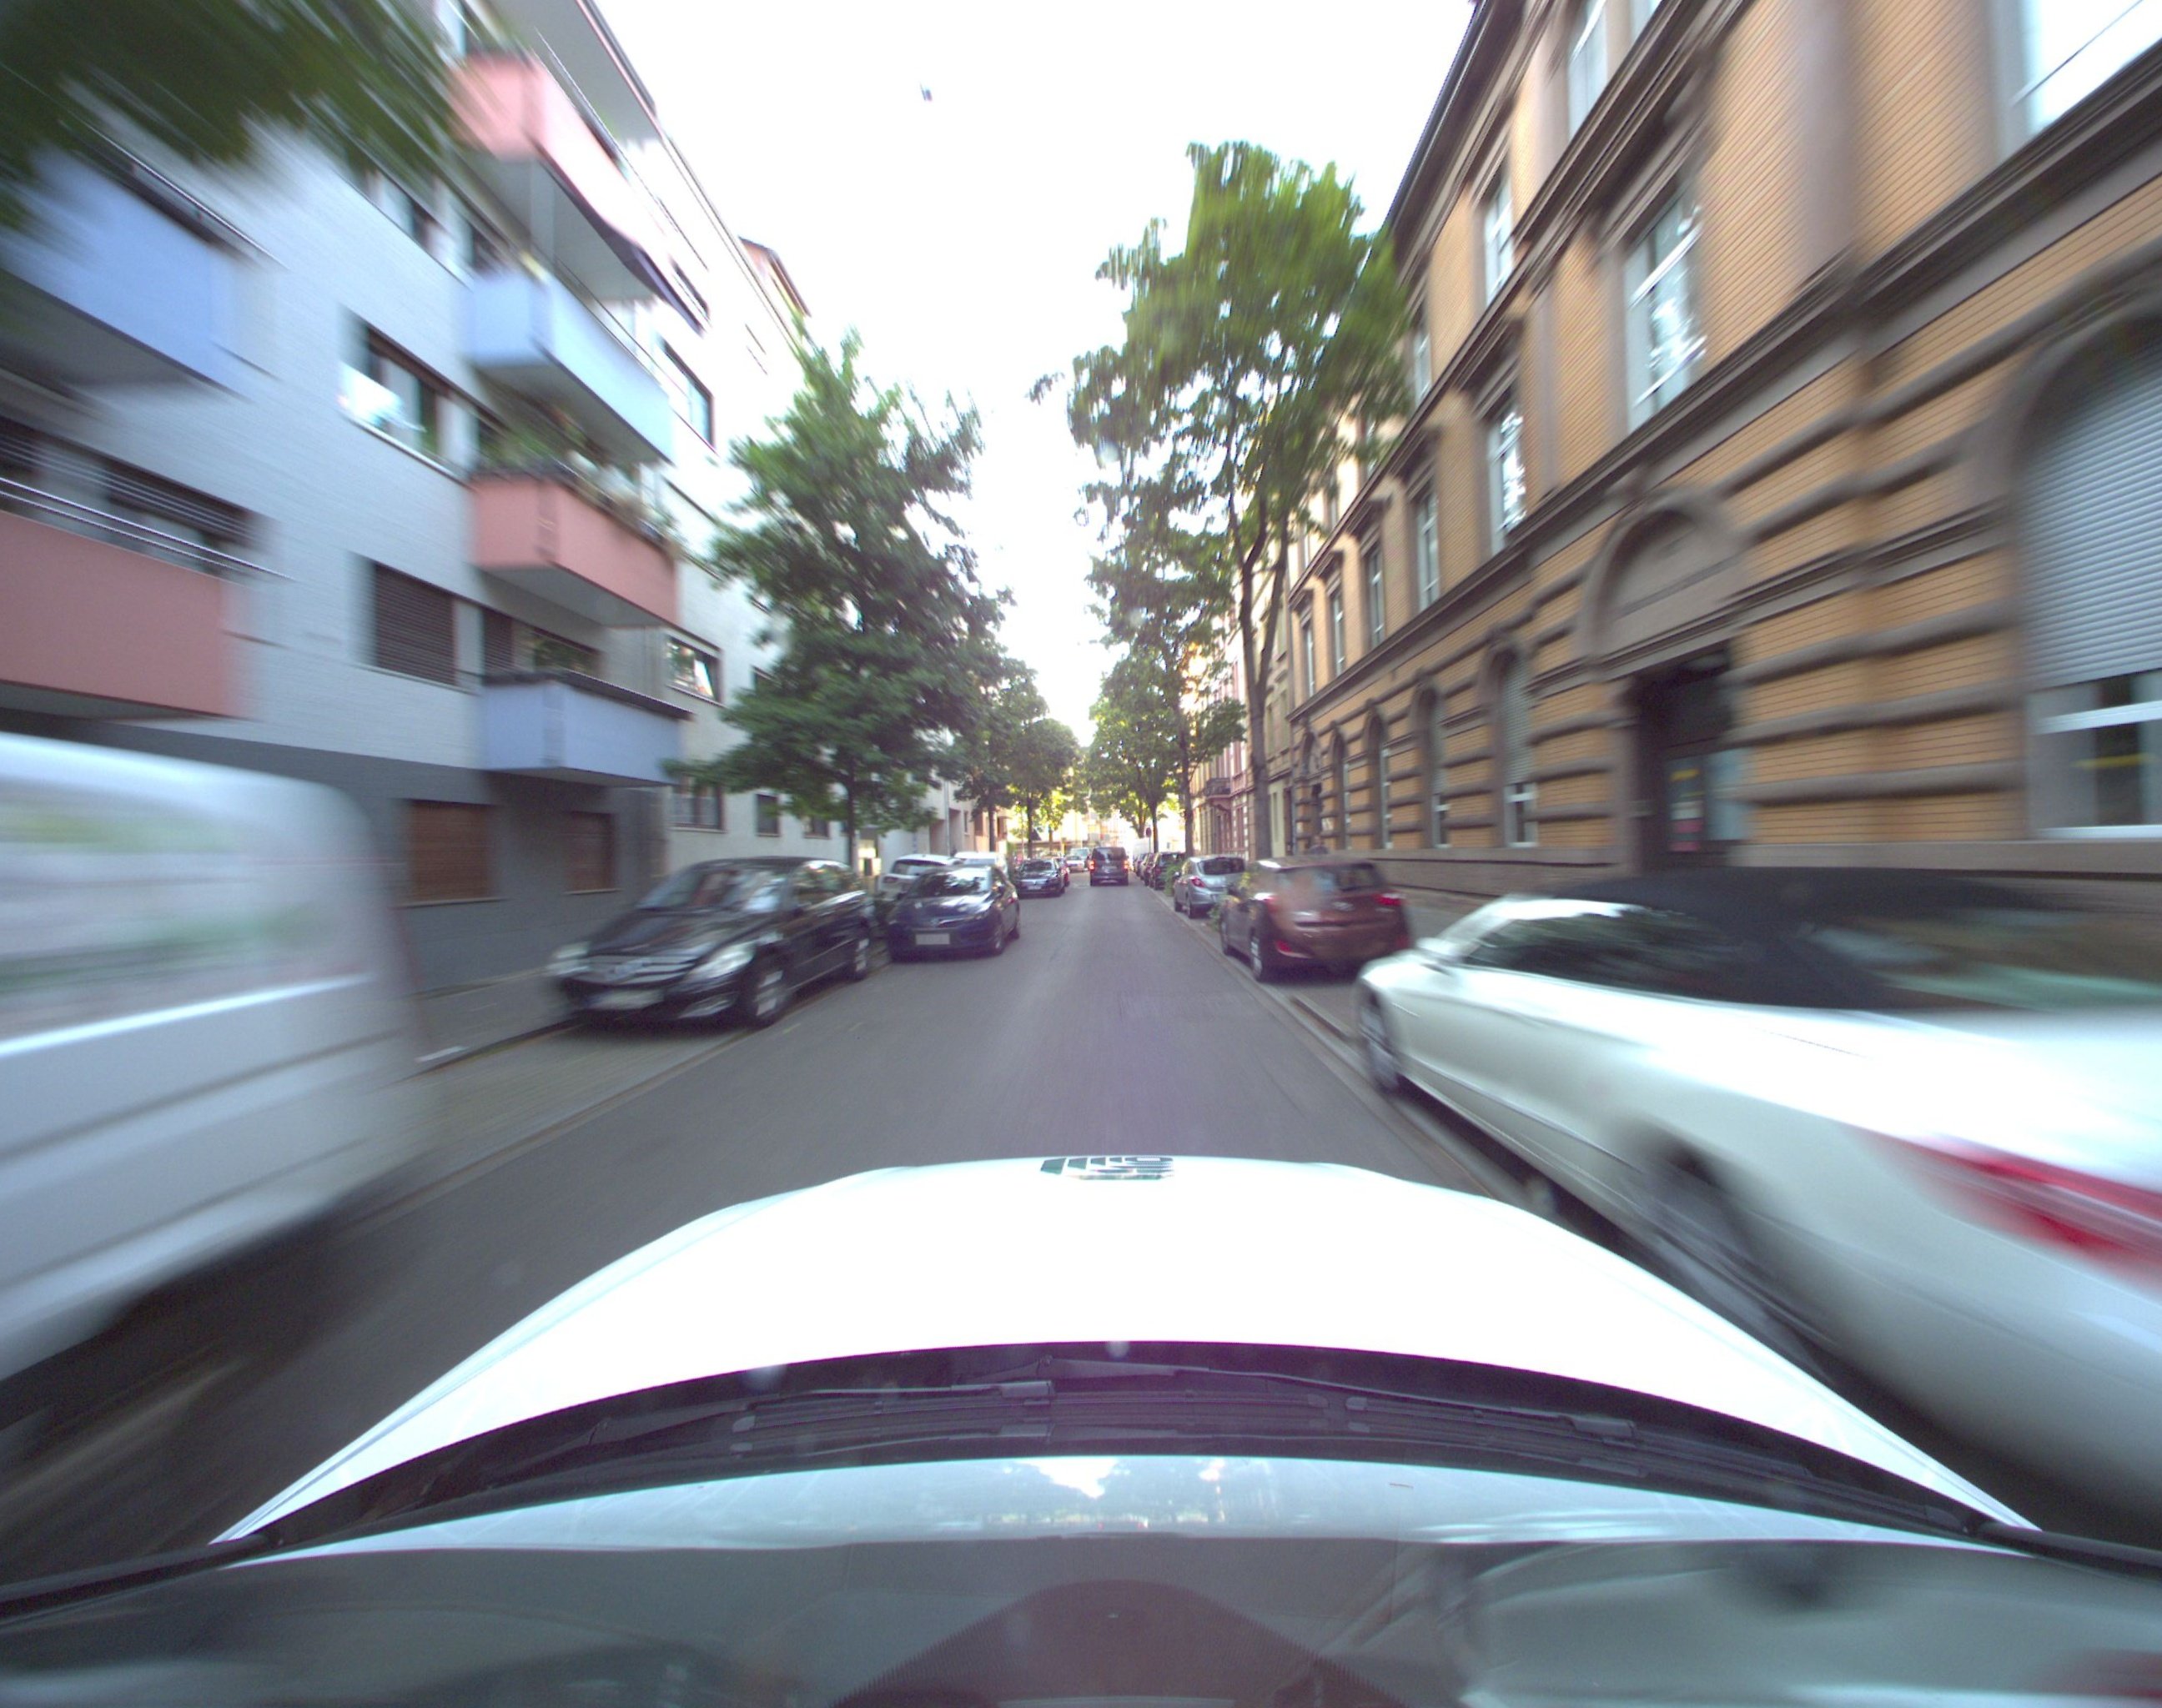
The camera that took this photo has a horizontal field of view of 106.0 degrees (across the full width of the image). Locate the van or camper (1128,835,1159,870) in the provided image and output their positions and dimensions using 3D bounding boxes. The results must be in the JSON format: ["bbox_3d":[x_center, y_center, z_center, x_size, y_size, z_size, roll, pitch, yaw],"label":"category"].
[{"bbox_3d":[4.758,-0.097,62.912,1.987,2.599,5.424,-1,0,1],"label":"van or camper"}]

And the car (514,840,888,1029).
[{"bbox_3d":[-3.955,0.714,9.682,1.986,1.646,4.924,1,0,2],"label":"car"}]

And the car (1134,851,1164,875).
[{"bbox_3d":[4.326,0.540,51.929,1.743,1.471,3.778,-1,0,2],"label":"car"}]

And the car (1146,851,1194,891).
[{"bbox_3d":[3.769,0.694,34.902,1.606,1.559,3.766,-2,0,0],"label":"car"}]

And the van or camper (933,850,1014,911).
[{"bbox_3d":[-3.407,0.787,26.663,1.924,1.760,4.466,2,0,1],"label":"van or camper"}]

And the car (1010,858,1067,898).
[{"bbox_3d":[-1.597,0.906,32.242,1.839,1.451,4.505,-1,0,2],"label":"car"}]

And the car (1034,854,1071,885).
[{"bbox_3d":[-1.381,0.755,41.077,1.624,1.430,3.543,-2,0,1],"label":"car"}]

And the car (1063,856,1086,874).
[{"bbox_3d":[-0.504,0.910,66.921,1.735,1.404,3.376,-2,0,2],"label":"car"}]

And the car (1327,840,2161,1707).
[{"bbox_3d":[2.615,0.685,3.658,1.687,1.401,4.647,-2,0,1],"label":"car"}]

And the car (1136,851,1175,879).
[{"bbox_3d":[4.029,0.568,44.520,1.710,1.403,3.812,-1,0,-1],"label":"car"}]

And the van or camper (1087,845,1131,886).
[{"bbox_3d":[1.458,0.550,40.639,2.026,1.897,4.275,-1,0,4],"label":"van or camper"}]

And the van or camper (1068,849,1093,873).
[{"bbox_3d":[0.001,0.609,72.017,1.854,1.983,4.274,-2,0,3],"label":"van or camper"}]

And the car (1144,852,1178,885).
[{"bbox_3d":[3.811,0.684,39.203,1.543,1.496,3.615,-1,0,5],"label":"car"}]

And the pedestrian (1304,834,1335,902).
[{"bbox_3d":[5.887,0.339,20.107,0.624,1.648,0.532,-1,0,2],"label":"pedestrian"}]

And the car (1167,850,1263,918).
[{"bbox_3d":[3.302,0.690,20.763,1.692,1.483,3.999,-3,0,0],"label":"car"}]

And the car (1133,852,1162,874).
[{"bbox_3d":[4.654,0.621,57.181,1.744,1.471,3.777,-2,0,1],"label":"car"}]

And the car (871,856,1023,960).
[{"bbox_3d":[-2.162,0.820,14.415,1.824,1.517,4.517,-1,0,1],"label":"car"}]

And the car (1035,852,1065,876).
[{"bbox_3d":[-2.172,0.696,58.403,1.890,1.637,4.157,0,0,2],"label":"car"}]

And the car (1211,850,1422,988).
[{"bbox_3d":[2.903,0.730,10.992,1.715,1.450,4.216,-2,-1,2],"label":"car"}]

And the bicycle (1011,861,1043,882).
[{"bbox_3d":[-3.099,0.988,46.943,1.839,1.195,0.598,0,1,-43],"label":"bicycle"}]

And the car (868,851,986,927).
[{"bbox_3d":[-3.797,0.786,20.976,2.027,1.672,4.649,2,0,1],"label":"car"}]

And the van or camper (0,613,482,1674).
[{"bbox_3d":[-2.832,0.524,0.142,1.870,1.843,4.752,-2,0,0],"label":"van or camper"}]
